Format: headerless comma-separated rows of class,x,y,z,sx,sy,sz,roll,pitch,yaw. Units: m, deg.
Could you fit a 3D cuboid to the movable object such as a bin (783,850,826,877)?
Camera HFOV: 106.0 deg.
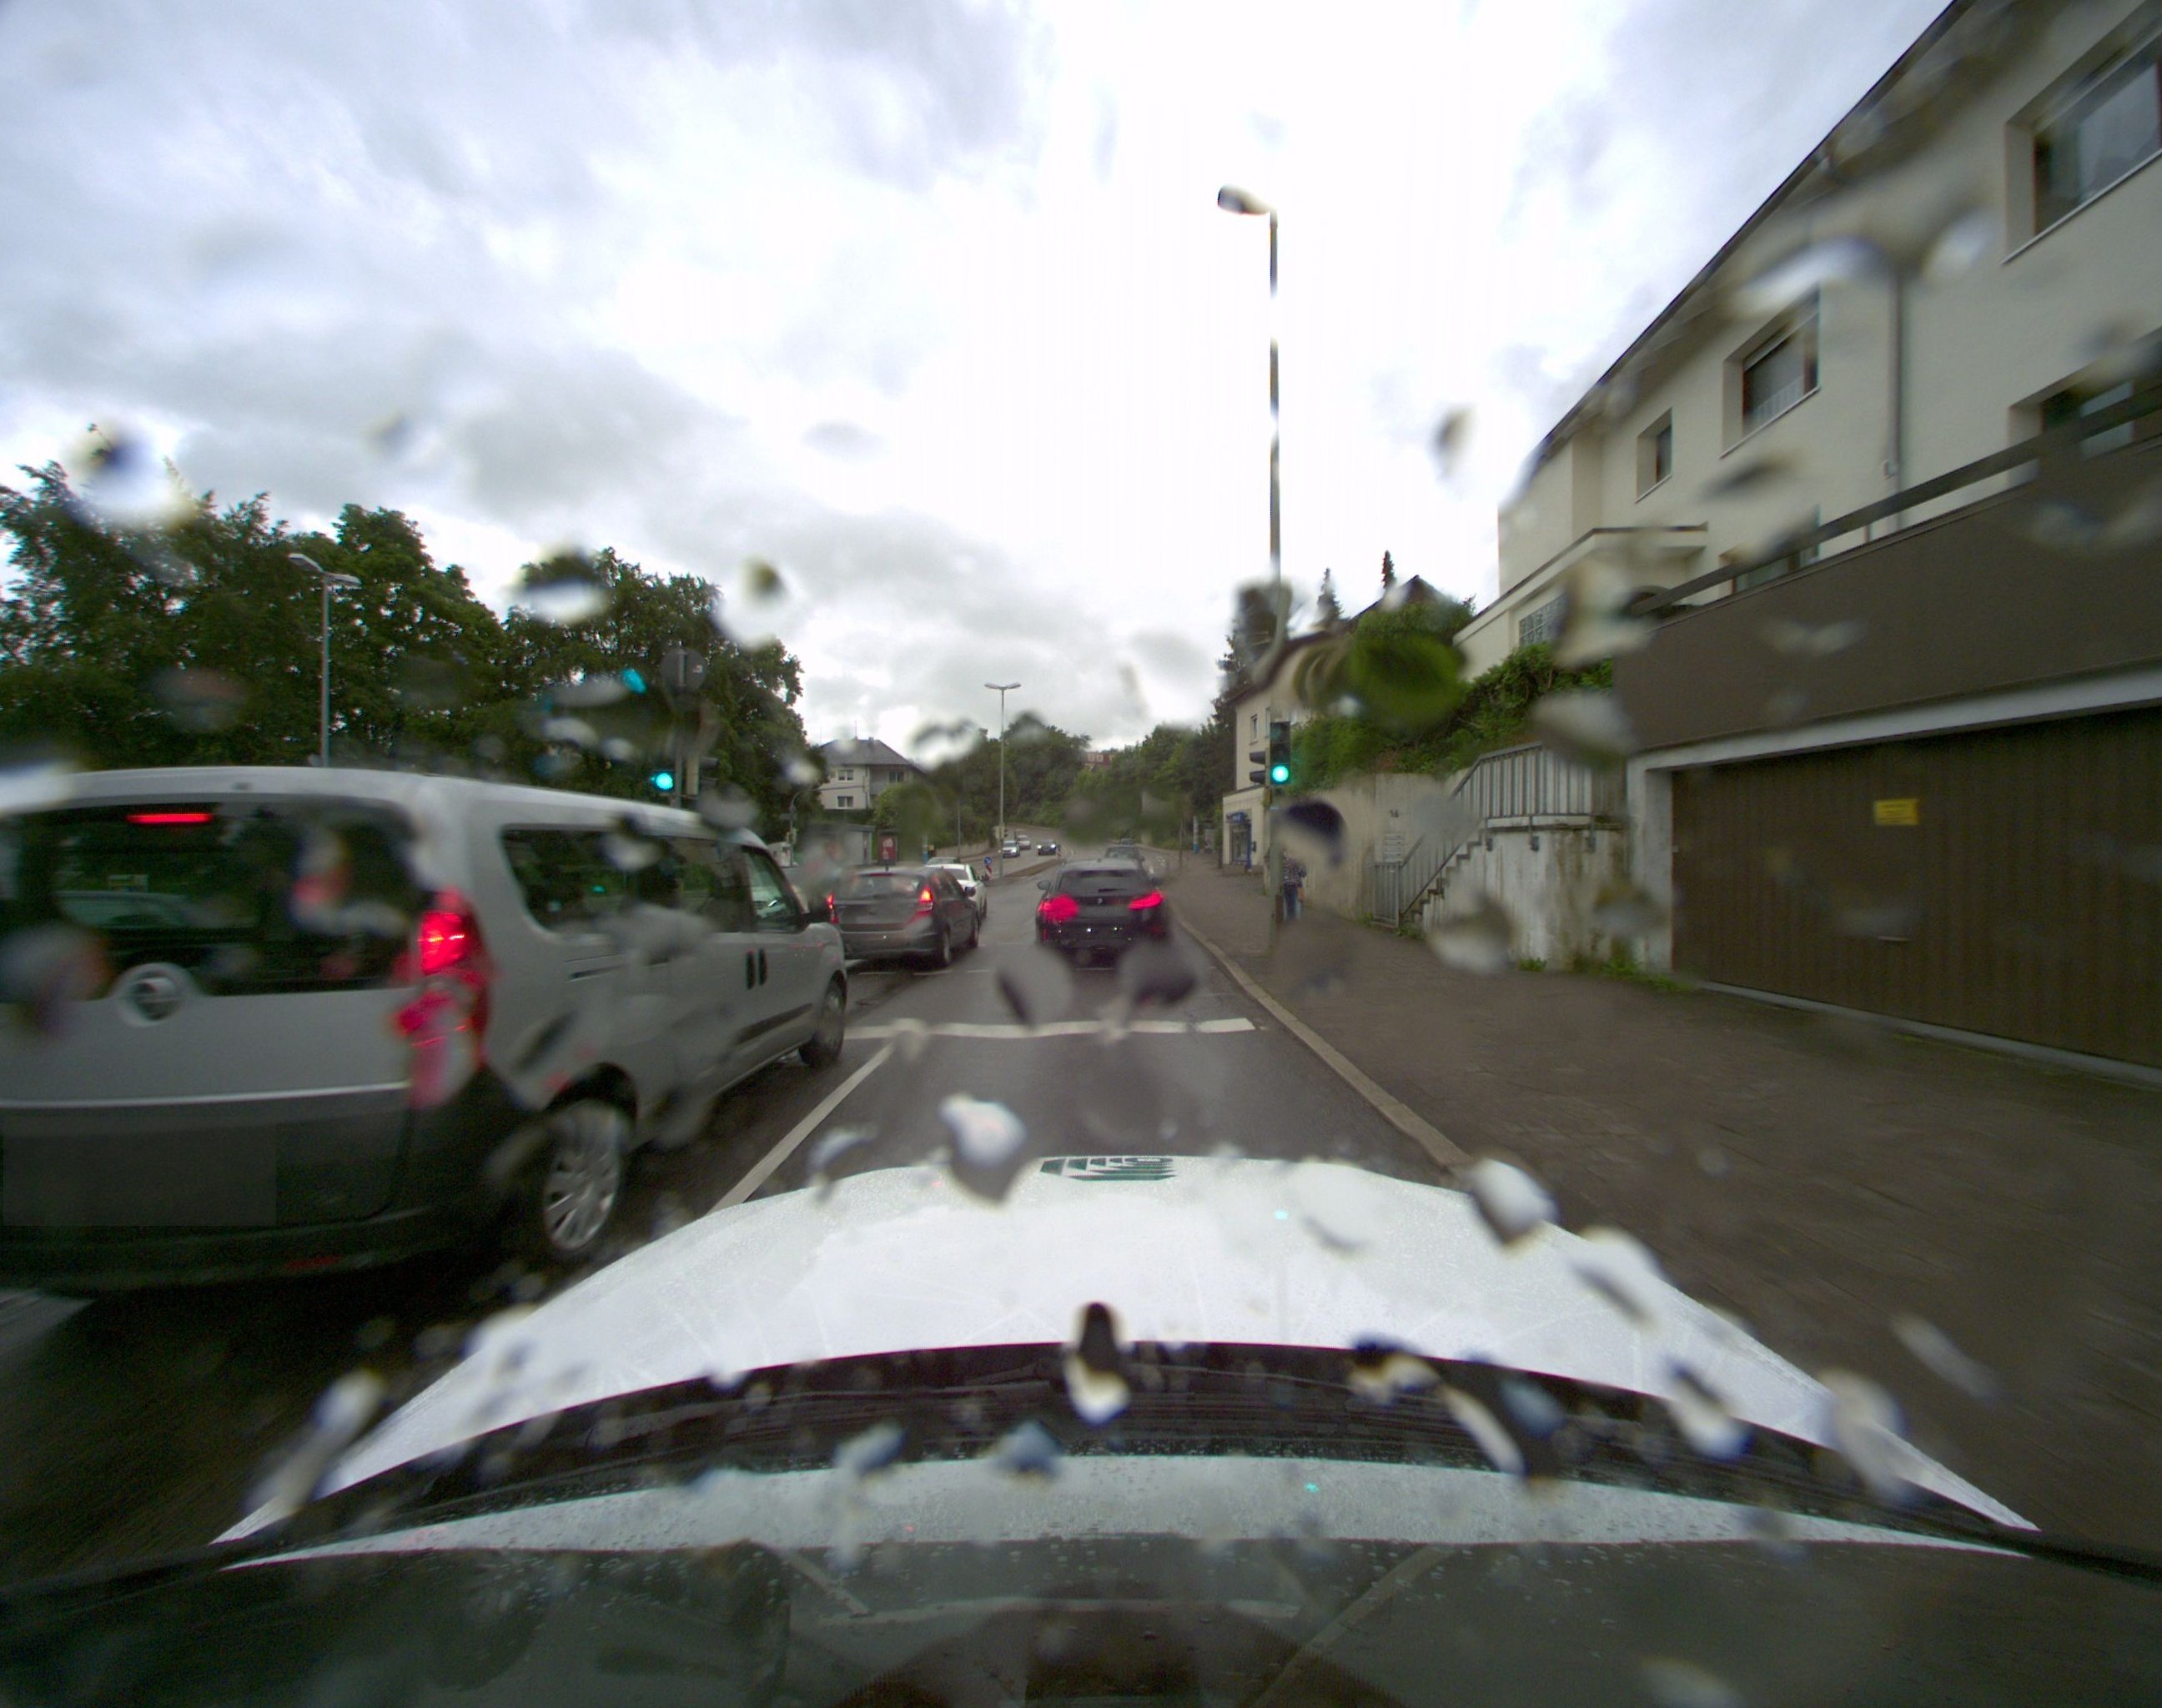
movable object such as a bin,-17.722,0.587,52.218,2.047,1.568,1.585,-2,2,6

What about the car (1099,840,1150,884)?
car,1.868,0.314,36.312,1.987,1.748,3.999,-2,1,-1

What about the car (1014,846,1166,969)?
car,0.132,0.754,13.009,1.987,1.586,4.662,-1,-1,0

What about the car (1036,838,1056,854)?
car,-3.657,-0.825,84.913,1.835,1.552,4.384,-2,0,0

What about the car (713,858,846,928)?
car,-7.722,0.933,21.368,1.831,1.556,4.766,-2,-1,-2

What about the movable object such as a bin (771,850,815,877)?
movable object such as a bin,-17.891,0.569,50.624,2.047,1.568,1.585,-2,2,6

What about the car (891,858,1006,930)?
car,-3.092,0.876,20.015,1.901,1.528,4.653,-1,0,2

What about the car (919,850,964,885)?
car,-6.929,0.631,40.836,1.992,1.574,3.990,-2,0,-7

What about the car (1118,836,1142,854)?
car,4.911,-0.916,81.688,1.848,1.661,3.994,-1,1,-5

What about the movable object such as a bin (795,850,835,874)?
movable object such as a bin,-17.521,0.526,53.689,2.047,1.514,1.347,-2,2,6

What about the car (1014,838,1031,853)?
car,-7.100,-1.072,98.029,1.897,1.682,4.471,-2,2,-6

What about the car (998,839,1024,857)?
car,-7.028,-0.625,82.064,1.815,1.657,4.472,-2,0,4

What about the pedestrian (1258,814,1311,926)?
pedestrian,3.760,0.298,15.092,0.794,2.014,0.734,-1,-1,1

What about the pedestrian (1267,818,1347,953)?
pedestrian,3.147,0.428,11.452,0.791,1.780,1.012,-3,-1,2

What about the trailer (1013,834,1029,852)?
trailer,-7.554,-1.368,102.317,1.894,2.179,4.027,-2,1,-7

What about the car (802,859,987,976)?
car,-2.707,0.853,12.811,1.828,1.487,4.060,-1,0,2

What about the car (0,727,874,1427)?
car,-2.743,0.620,4.602,1.946,1.871,4.744,-2,0,-1

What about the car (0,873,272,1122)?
car,-7.452,0.908,4.661,1.850,1.464,3.992,-1,0,-6
